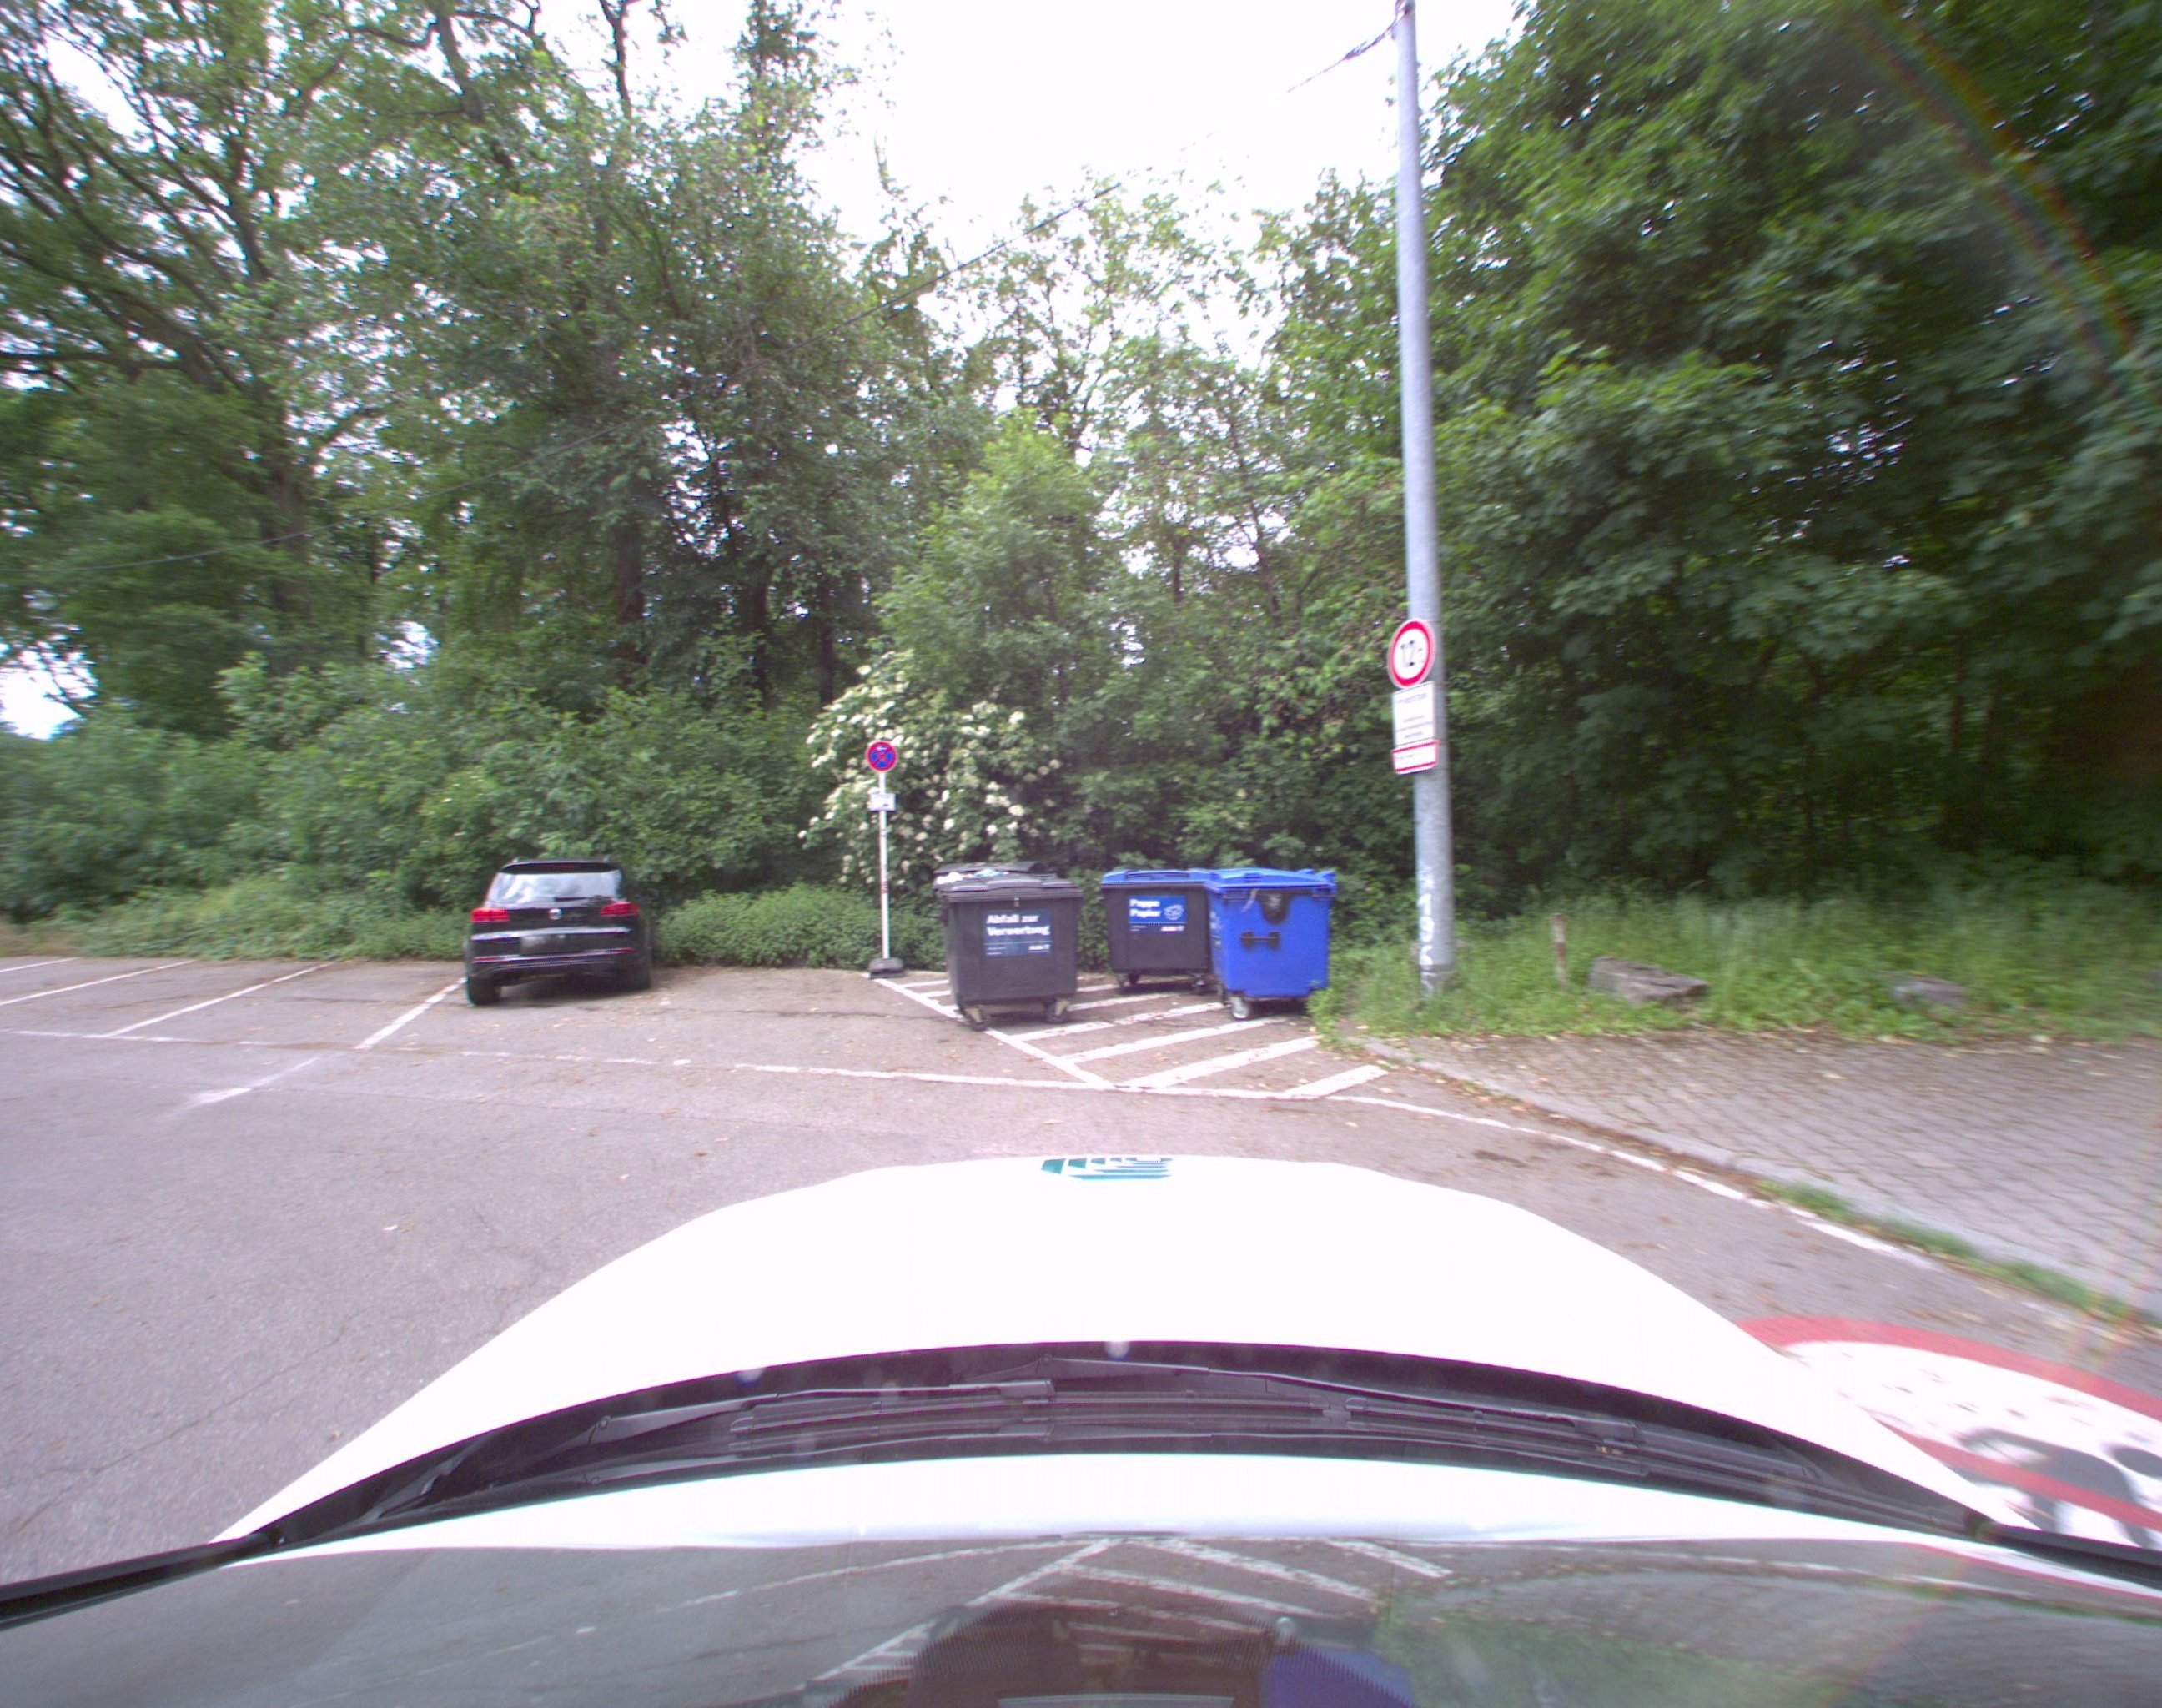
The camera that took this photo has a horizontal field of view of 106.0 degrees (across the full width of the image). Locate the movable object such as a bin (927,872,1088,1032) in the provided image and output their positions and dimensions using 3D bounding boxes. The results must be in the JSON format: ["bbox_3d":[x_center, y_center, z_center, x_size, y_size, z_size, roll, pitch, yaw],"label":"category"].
[{"bbox_3d":[-0.724,0.837,7.555,1.311,1.307,1.167,-1,-1,-14],"label":"movable object such as a bin"}]

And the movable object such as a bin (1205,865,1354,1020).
[{"bbox_3d":[1.815,0.776,7.692,1.138,1.325,1.258,-1,-1,3],"label":"movable object such as a bin"}]

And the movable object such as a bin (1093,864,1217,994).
[{"bbox_3d":[0.852,0.790,9.028,1.228,1.320,1.130,-1,-1,11],"label":"movable object such as a bin"}]

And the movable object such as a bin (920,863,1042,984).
[{"bbox_3d":[-1.247,0.839,10.347,1.118,1.425,1.132,-1,-1,19],"label":"movable object such as a bin"}]

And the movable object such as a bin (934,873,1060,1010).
[{"bbox_3d":[-0.929,0.874,8.734,1.182,1.315,1.121,-1,-1,-14],"label":"movable object such as a bin"}]

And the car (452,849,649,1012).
[{"bbox_3d":[-6.732,0.824,10.736,1.789,1.685,4.034,-1,0,-28],"label":"car"}]
